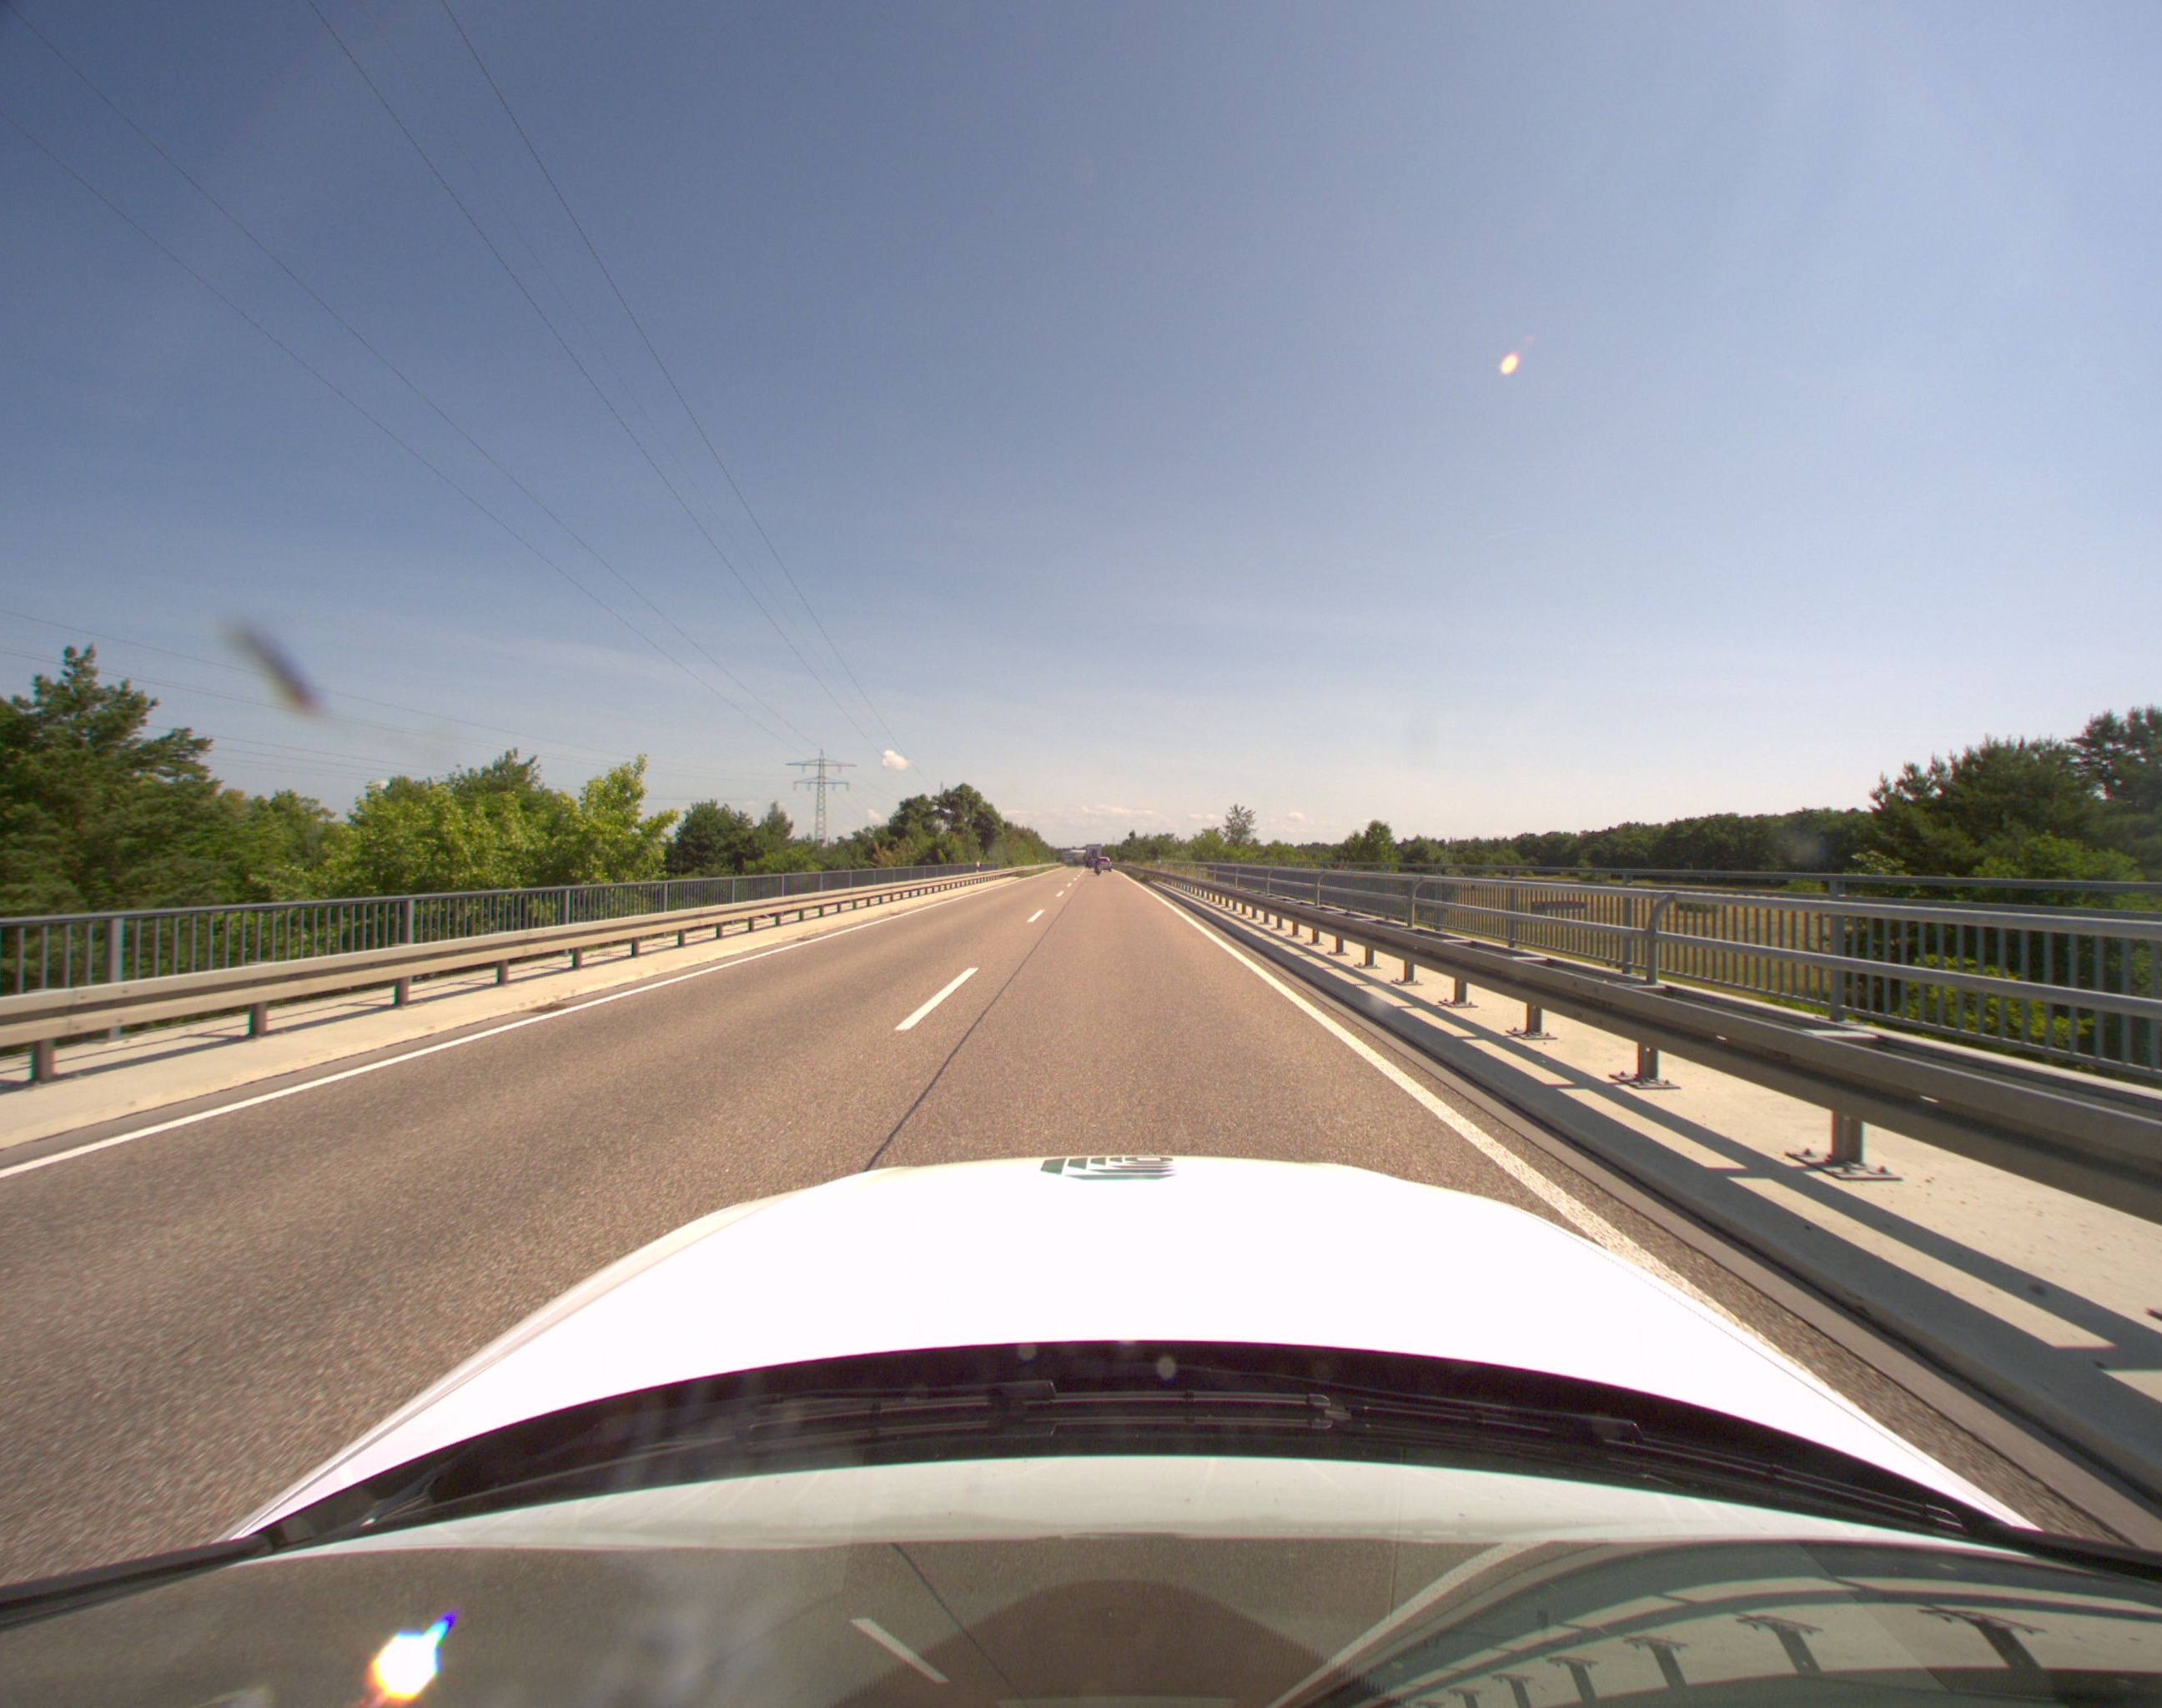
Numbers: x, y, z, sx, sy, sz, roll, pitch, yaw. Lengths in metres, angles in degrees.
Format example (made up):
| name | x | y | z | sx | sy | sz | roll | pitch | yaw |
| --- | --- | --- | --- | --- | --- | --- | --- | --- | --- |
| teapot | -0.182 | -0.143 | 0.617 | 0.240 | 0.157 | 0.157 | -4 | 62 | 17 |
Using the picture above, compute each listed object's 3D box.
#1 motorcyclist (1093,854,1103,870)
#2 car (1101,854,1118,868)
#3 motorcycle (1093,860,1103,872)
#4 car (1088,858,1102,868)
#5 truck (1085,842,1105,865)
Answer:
| name | x | y | z | sx | sy | sz | roll | pitch | yaw |
| --- | --- | --- | --- | --- | --- | --- | --- | --- | --- |
| motorcyclist | 1.450 | 0.708 | 69.457 | 0.777 | 1.325 | 0.814 | -1 | 0 | 3 |
| car | 3.118 | 0.744 | 89.285 | 1.819 | 1.451 | 4.001 | -1 | 0 | 1 |
| motorcycle | 1.443 | 1.029 | 69.438 | 0.777 | 0.975 | 2.363 | -1 | 0 | 3 |
| car | 2.072 | 1.312 | 119.559 | 1.858 | 1.420 | 4.003 | 0 | 0 | 3 |
| truck | 2.579 | -0.073 | 146.617 | 3.229 | 3.979 | 9.449 | -1 | 0 | 2 |
